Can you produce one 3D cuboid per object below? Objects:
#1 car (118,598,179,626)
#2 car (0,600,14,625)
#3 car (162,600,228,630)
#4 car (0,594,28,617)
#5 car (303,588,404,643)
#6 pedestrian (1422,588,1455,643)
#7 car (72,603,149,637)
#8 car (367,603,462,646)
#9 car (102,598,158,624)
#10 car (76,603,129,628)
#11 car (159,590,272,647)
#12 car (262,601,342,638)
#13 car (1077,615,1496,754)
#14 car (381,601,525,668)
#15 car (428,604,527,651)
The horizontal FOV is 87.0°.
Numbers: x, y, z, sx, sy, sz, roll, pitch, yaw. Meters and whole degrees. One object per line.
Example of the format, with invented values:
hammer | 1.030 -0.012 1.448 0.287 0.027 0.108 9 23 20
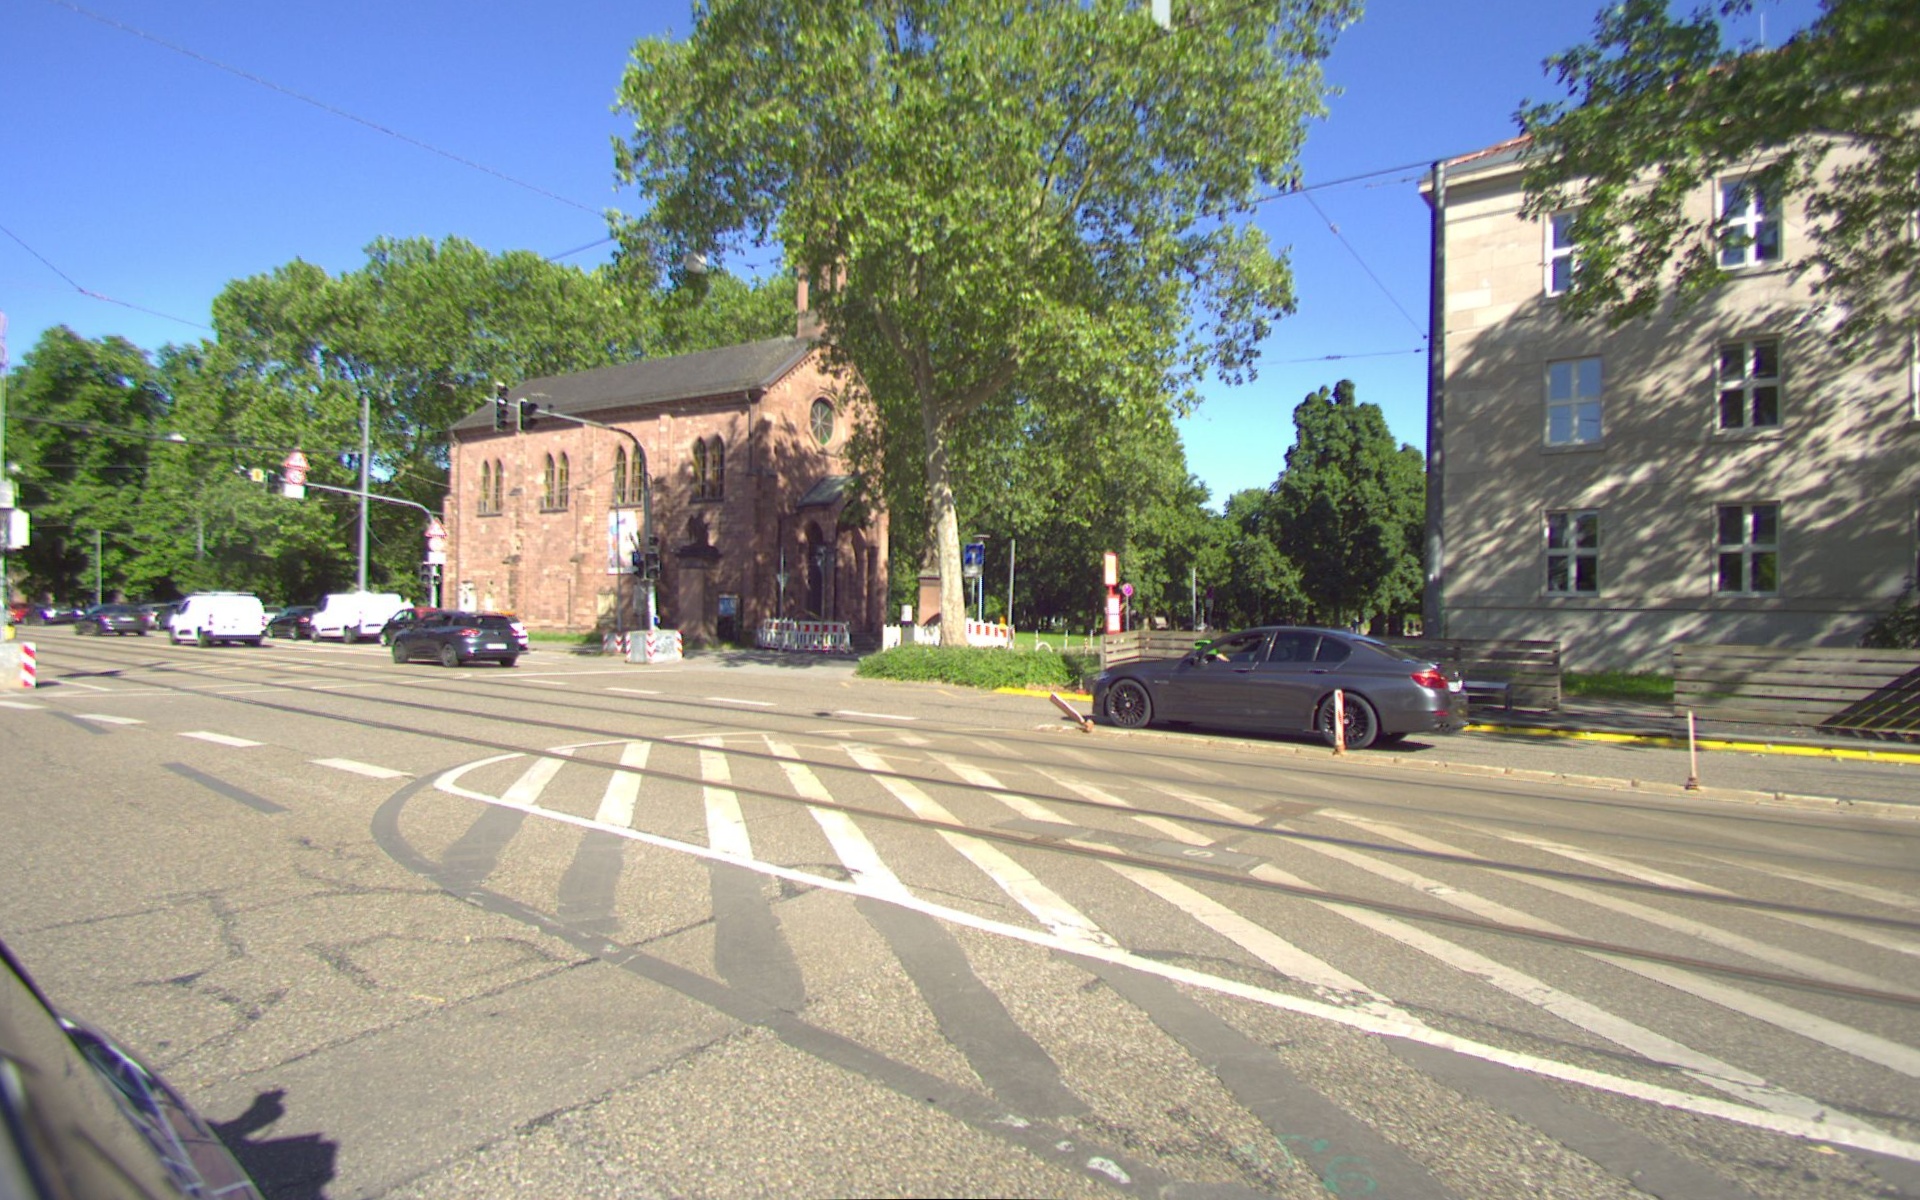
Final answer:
car | -46.141 0.663 57.511 4.301 1.563 1.773 0 -1 38
car | -55.861 0.687 57.971 4.370 1.440 1.776 0 -1 38
car | -41.232 0.782 54.530 4.301 1.563 1.773 0 -1 38
car | -65.624 0.363 69.421 4.301 1.563 1.773 0 -1 38
car | -24.925 0.610 41.545 4.584 2.112 1.899 0 -1 36
pedestrian | 16.993 0.553 35.940 0.902 1.910 0.800 0 -1 42
car | -38.068 0.864 45.316 4.370 1.440 1.776 0 -1 38
car | -20.860 0.893 38.656 3.854 1.563 1.774 0 -1 37
car | -50.678 0.655 61.773 4.301 1.563 1.773 0 -1 38
car | -54.805 0.983 64.662 4.301 1.563 1.773 0 -1 38
car | -26.615 0.644 36.133 4.511 1.905 2.041 0 -2 38
car | -29.285 0.855 45.031 3.854 1.563 1.774 0 -1 37
car | 4.121 0.969 13.362 4.958 1.464 1.811 0 -2 41
car | -13.230 0.840 26.320 4.079 1.422 1.602 3 2 35
car | -17.208 0.942 36.017 3.673 1.586 1.757 0 -1 39
